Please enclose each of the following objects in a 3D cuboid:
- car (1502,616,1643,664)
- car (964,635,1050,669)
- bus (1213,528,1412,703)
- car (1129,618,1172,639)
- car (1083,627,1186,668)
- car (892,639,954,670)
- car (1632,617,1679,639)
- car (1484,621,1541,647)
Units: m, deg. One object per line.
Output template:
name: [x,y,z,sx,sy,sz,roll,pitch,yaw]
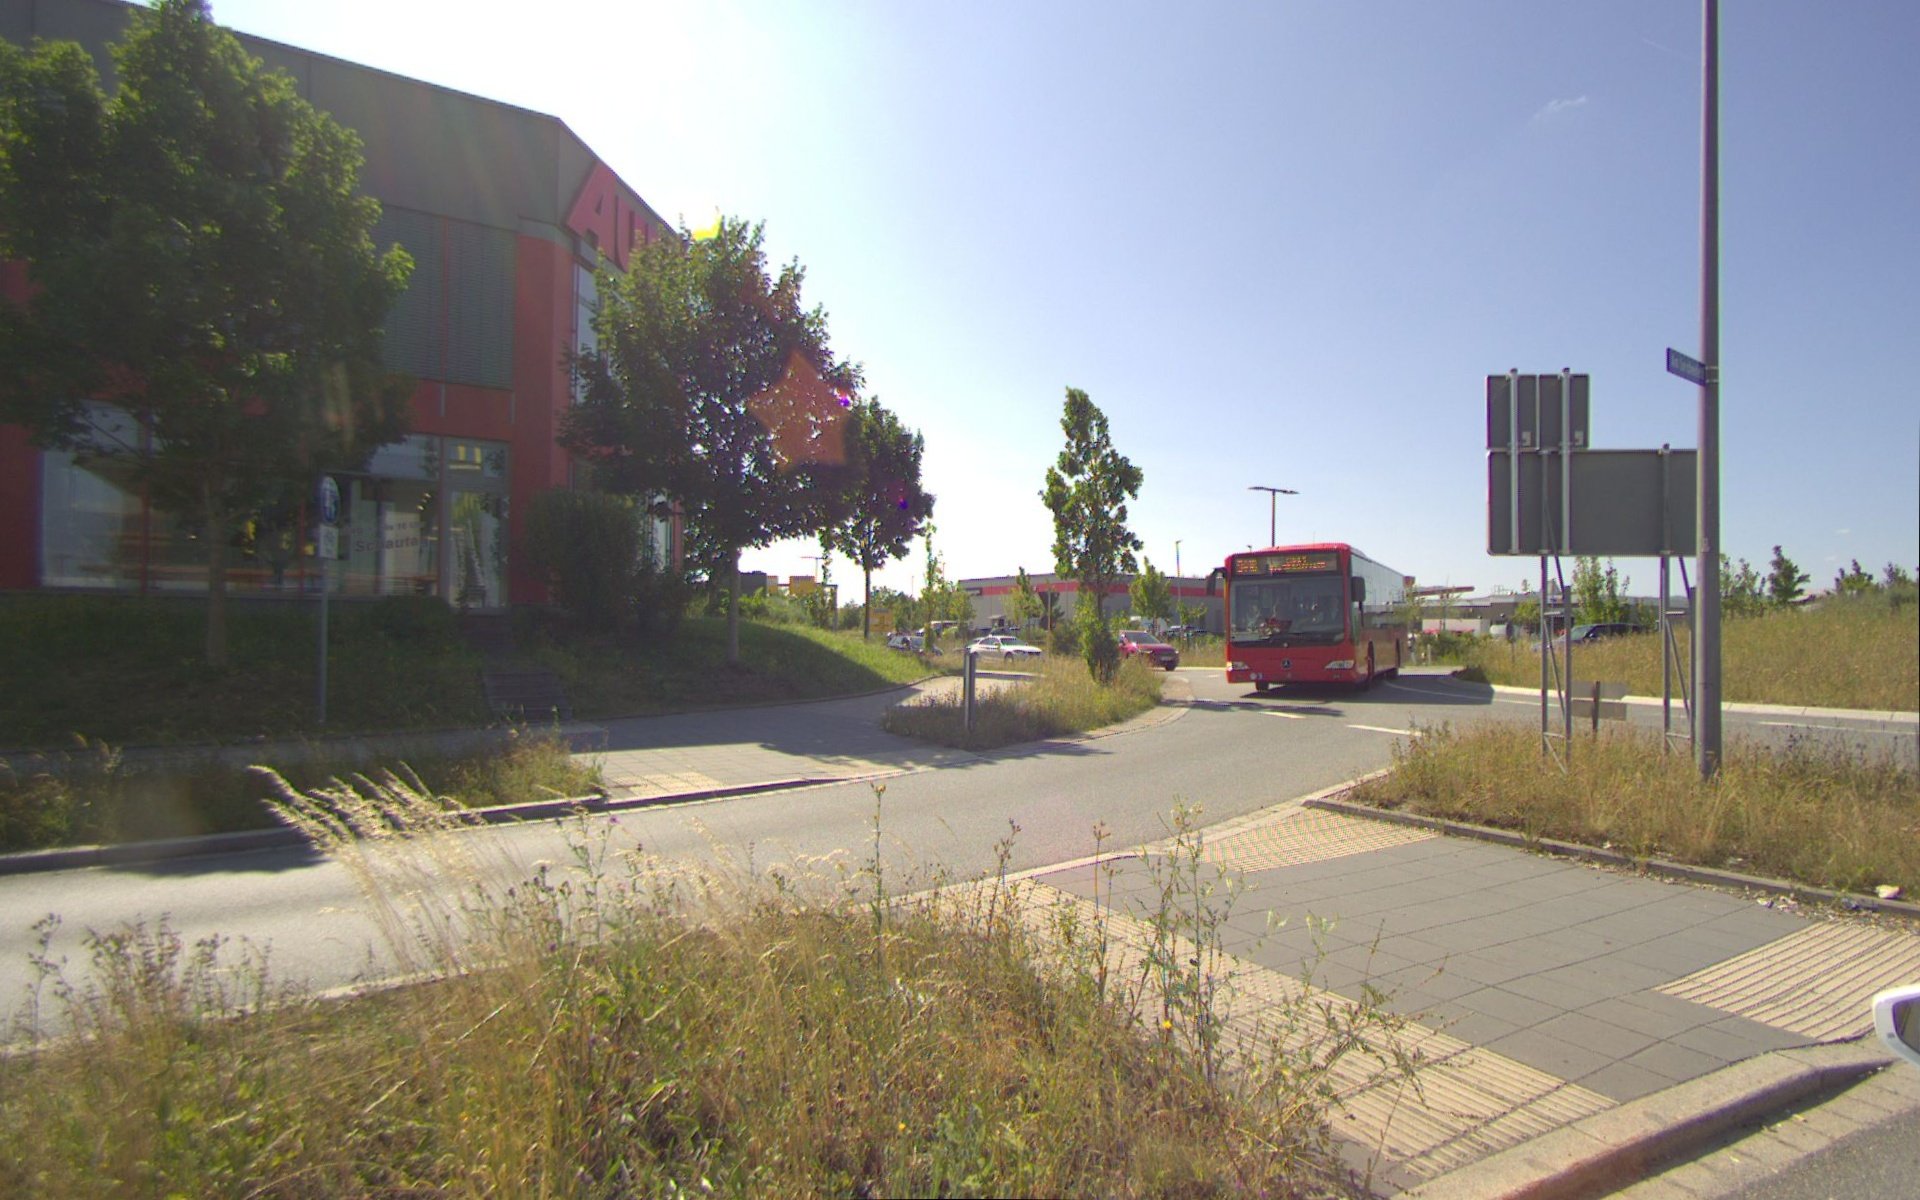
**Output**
car: [22.322,1.463,36.752,3.998,1.657,1.858,-1,-2,15]
car: [2.085,2.348,45.964,1.777,1.434,4.344,1,-2,-32]
bus: [9.086,0.445,24.622,2.571,3.284,11.861,-2,-2,29]
car: [18.414,2.760,97.044,3.959,2.040,1.981,1,-2,-35]
car: [6.349,1.781,36.995,1.783,1.434,4.095,1,-4,-24]
car: [-1.989,2.833,52.812,1.625,1.507,3.873,0,-1,-30]
car: [59.938,2.417,86.589,3.956,1.754,1.983,2,-2,-32]
car: [45.389,2.788,82.518,5.083,2.040,1.982,2,-2,-34]
